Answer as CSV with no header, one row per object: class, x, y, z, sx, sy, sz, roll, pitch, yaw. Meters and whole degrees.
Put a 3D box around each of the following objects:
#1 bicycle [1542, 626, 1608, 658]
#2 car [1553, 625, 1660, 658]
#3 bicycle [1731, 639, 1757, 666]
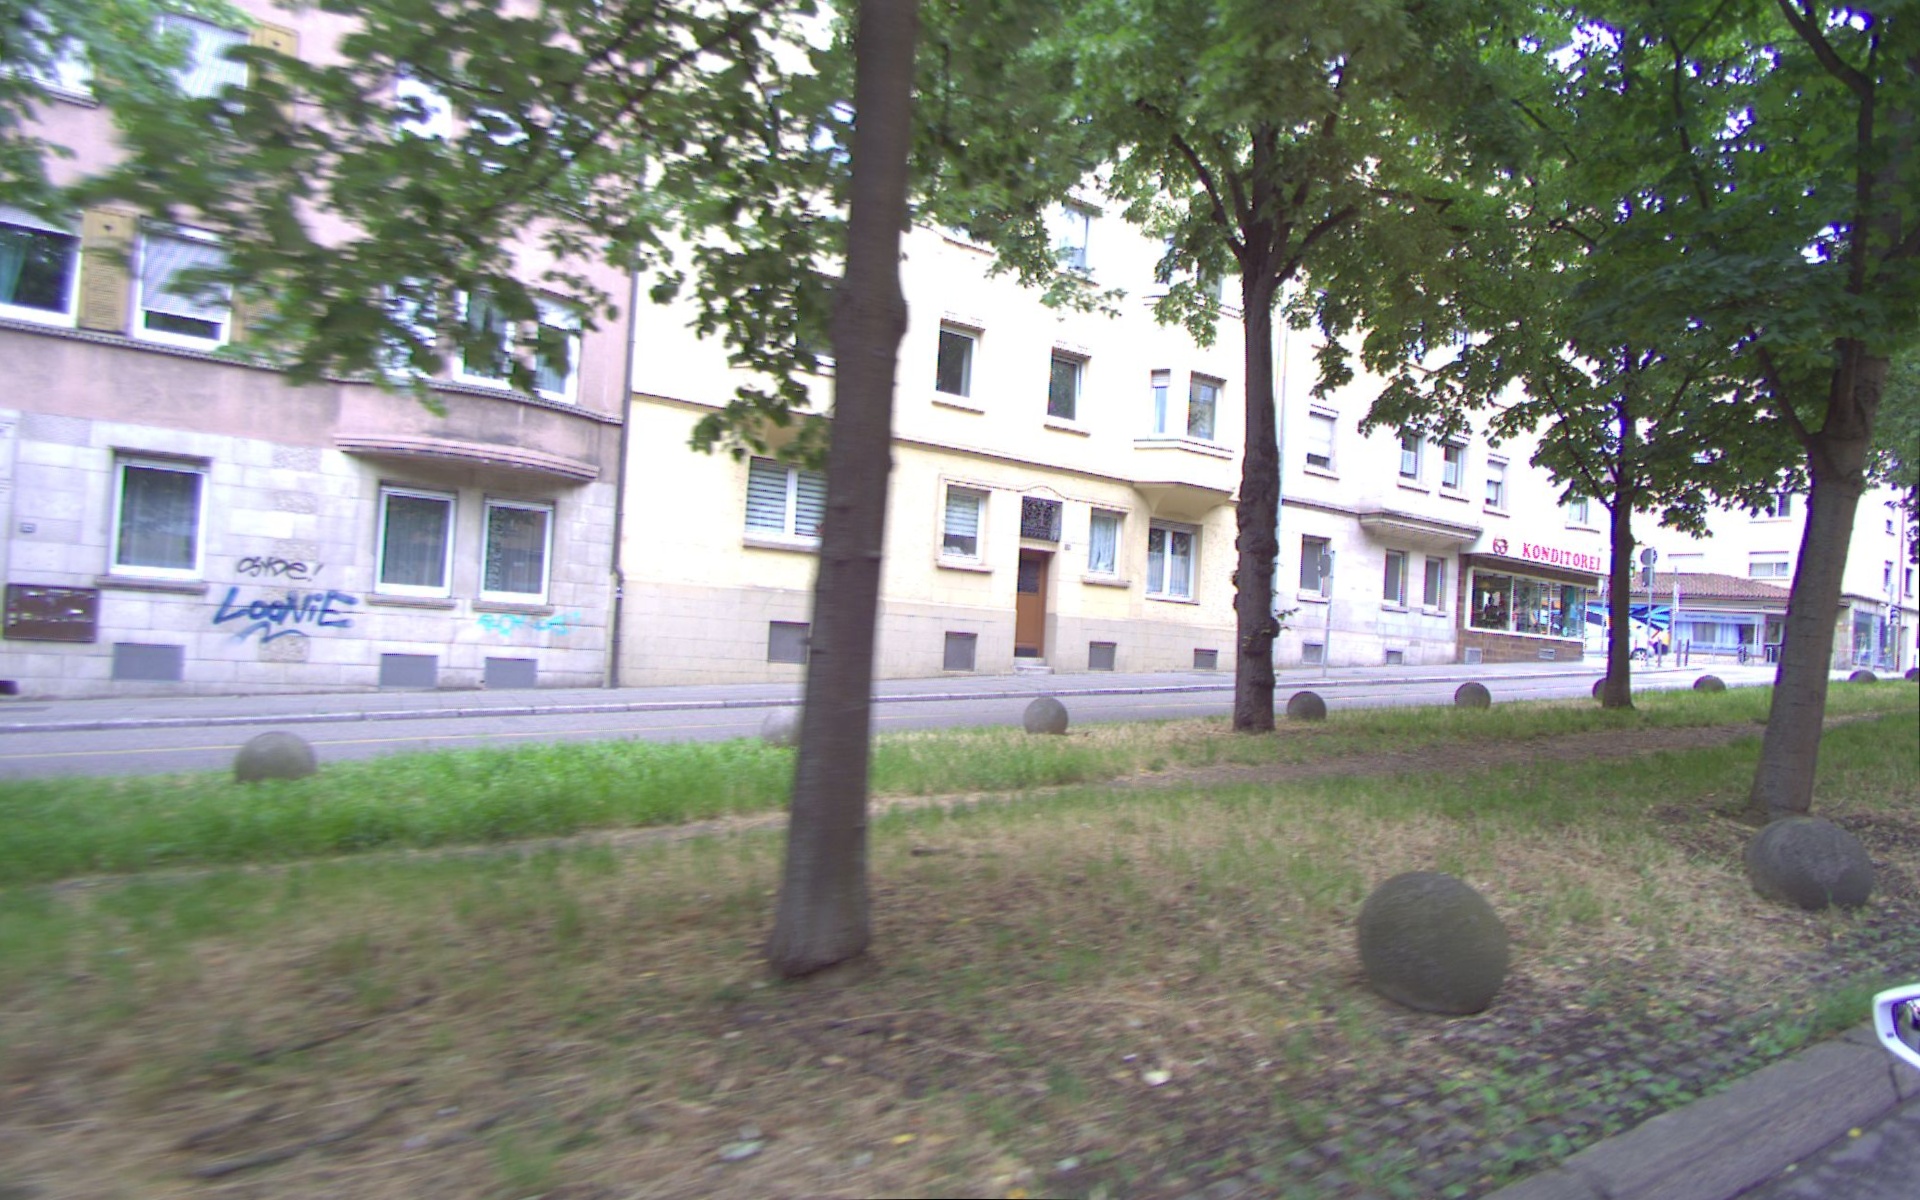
bicycle,24.132,1.635,39.494,0.852,1.060,2.457,3,1,-5
car,30.088,1.958,46.886,3.965,1.498,1.820,-1,-3,25
bicycle,34.763,2.321,44.552,0.752,1.099,2.030,4,0,35
